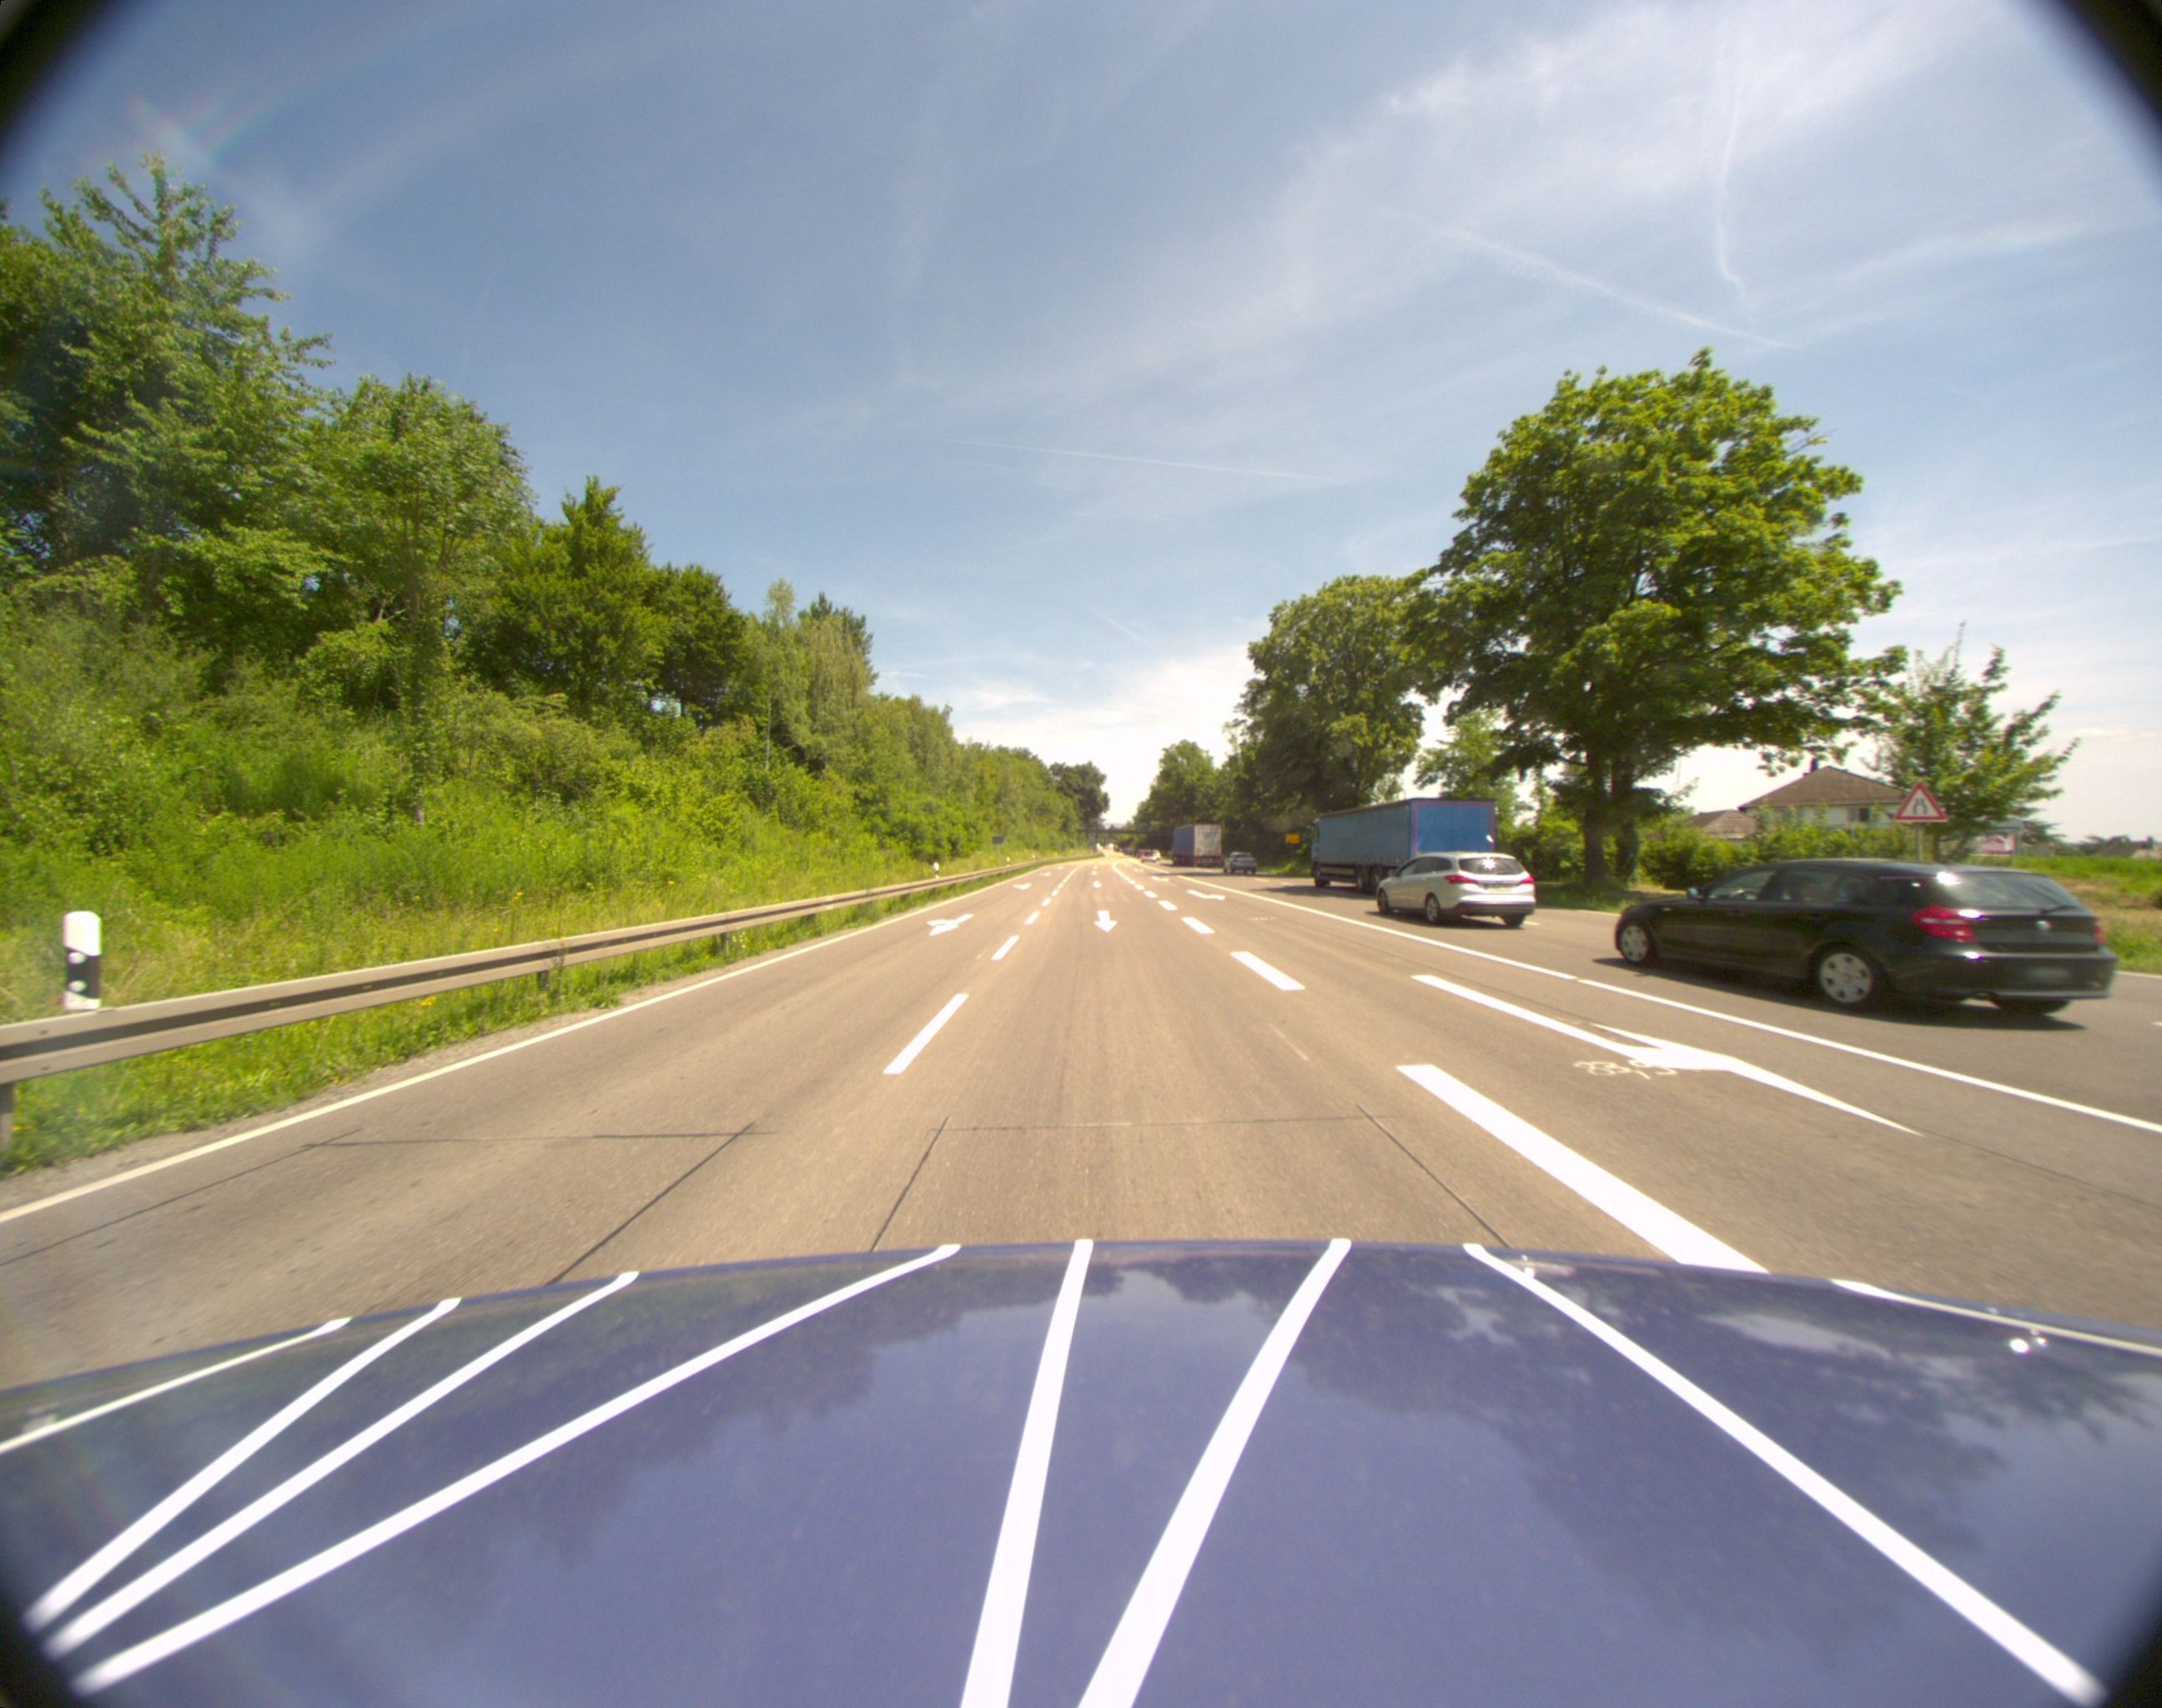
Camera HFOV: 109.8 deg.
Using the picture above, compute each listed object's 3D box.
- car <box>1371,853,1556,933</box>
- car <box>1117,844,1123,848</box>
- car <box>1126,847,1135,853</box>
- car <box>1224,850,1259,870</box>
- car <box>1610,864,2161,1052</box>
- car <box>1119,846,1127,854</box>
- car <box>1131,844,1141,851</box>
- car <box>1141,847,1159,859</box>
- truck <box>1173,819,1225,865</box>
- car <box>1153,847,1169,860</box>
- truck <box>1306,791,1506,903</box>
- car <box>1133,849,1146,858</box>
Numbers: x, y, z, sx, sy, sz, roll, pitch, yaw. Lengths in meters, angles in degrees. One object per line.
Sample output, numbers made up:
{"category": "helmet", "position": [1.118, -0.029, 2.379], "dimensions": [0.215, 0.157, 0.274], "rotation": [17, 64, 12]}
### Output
{"category": "car", "position": [7.878, 0.722, 16.156], "dimensions": [1.793, 1.418, 4.263], "rotation": [1, 1, 1]}
{"category": "car", "position": [12.850, -2.558, 248.319], "dimensions": [1.907, 1.500, 3.765], "rotation": [0, 0, 4]}
{"category": "car", "position": [11.592, -0.978, 177.409], "dimensions": [1.771, 1.378, 3.999], "rotation": [-2, 2, 1]}
{"category": "car", "position": [11.790, 0.398, 56.085], "dimensions": [1.765, 1.419, 4.180], "rotation": [0, 0, 2]}
{"category": "car", "position": [7.728, 0.835, 7.928], "dimensions": [1.666, 1.395, 4.017], "rotation": [0, 0, 1]}
{"category": "car", "position": [11.223, -1.084, 203.463], "dimensions": [1.998, 2.002, 4.000], "rotation": [0, 1, 1]}
{"category": "car", "position": [11.218, -1.343, 154.753], "dimensions": [1.646, 1.430, 4.016], "rotation": [-2, 1, -1]}
{"category": "car", "position": [8.724, -0.073, 96.675], "dimensions": [1.924, 1.472, 4.687], "rotation": [0, 0, 0]}
{"category": "truck", "position": [11.874, -1.216, 78.237], "dimensions": [2.975, 4.153, 16.572], "rotation": [0, 1, 1]}
{"category": "car", "position": [11.713, -0.127, 111.198], "dimensions": [1.998, 1.893, 4.000], "rotation": [0, 1, 2]}
{"category": "truck", "position": [11.482, -0.284, 28.604], "dimensions": [2.853, 3.332, 11.481], "rotation": [-1, 1, 1]}
{"category": "car", "position": [9.591, -0.156, 124.468], "dimensions": [1.704, 1.407, 4.562], "rotation": [-1, 1, 0]}
